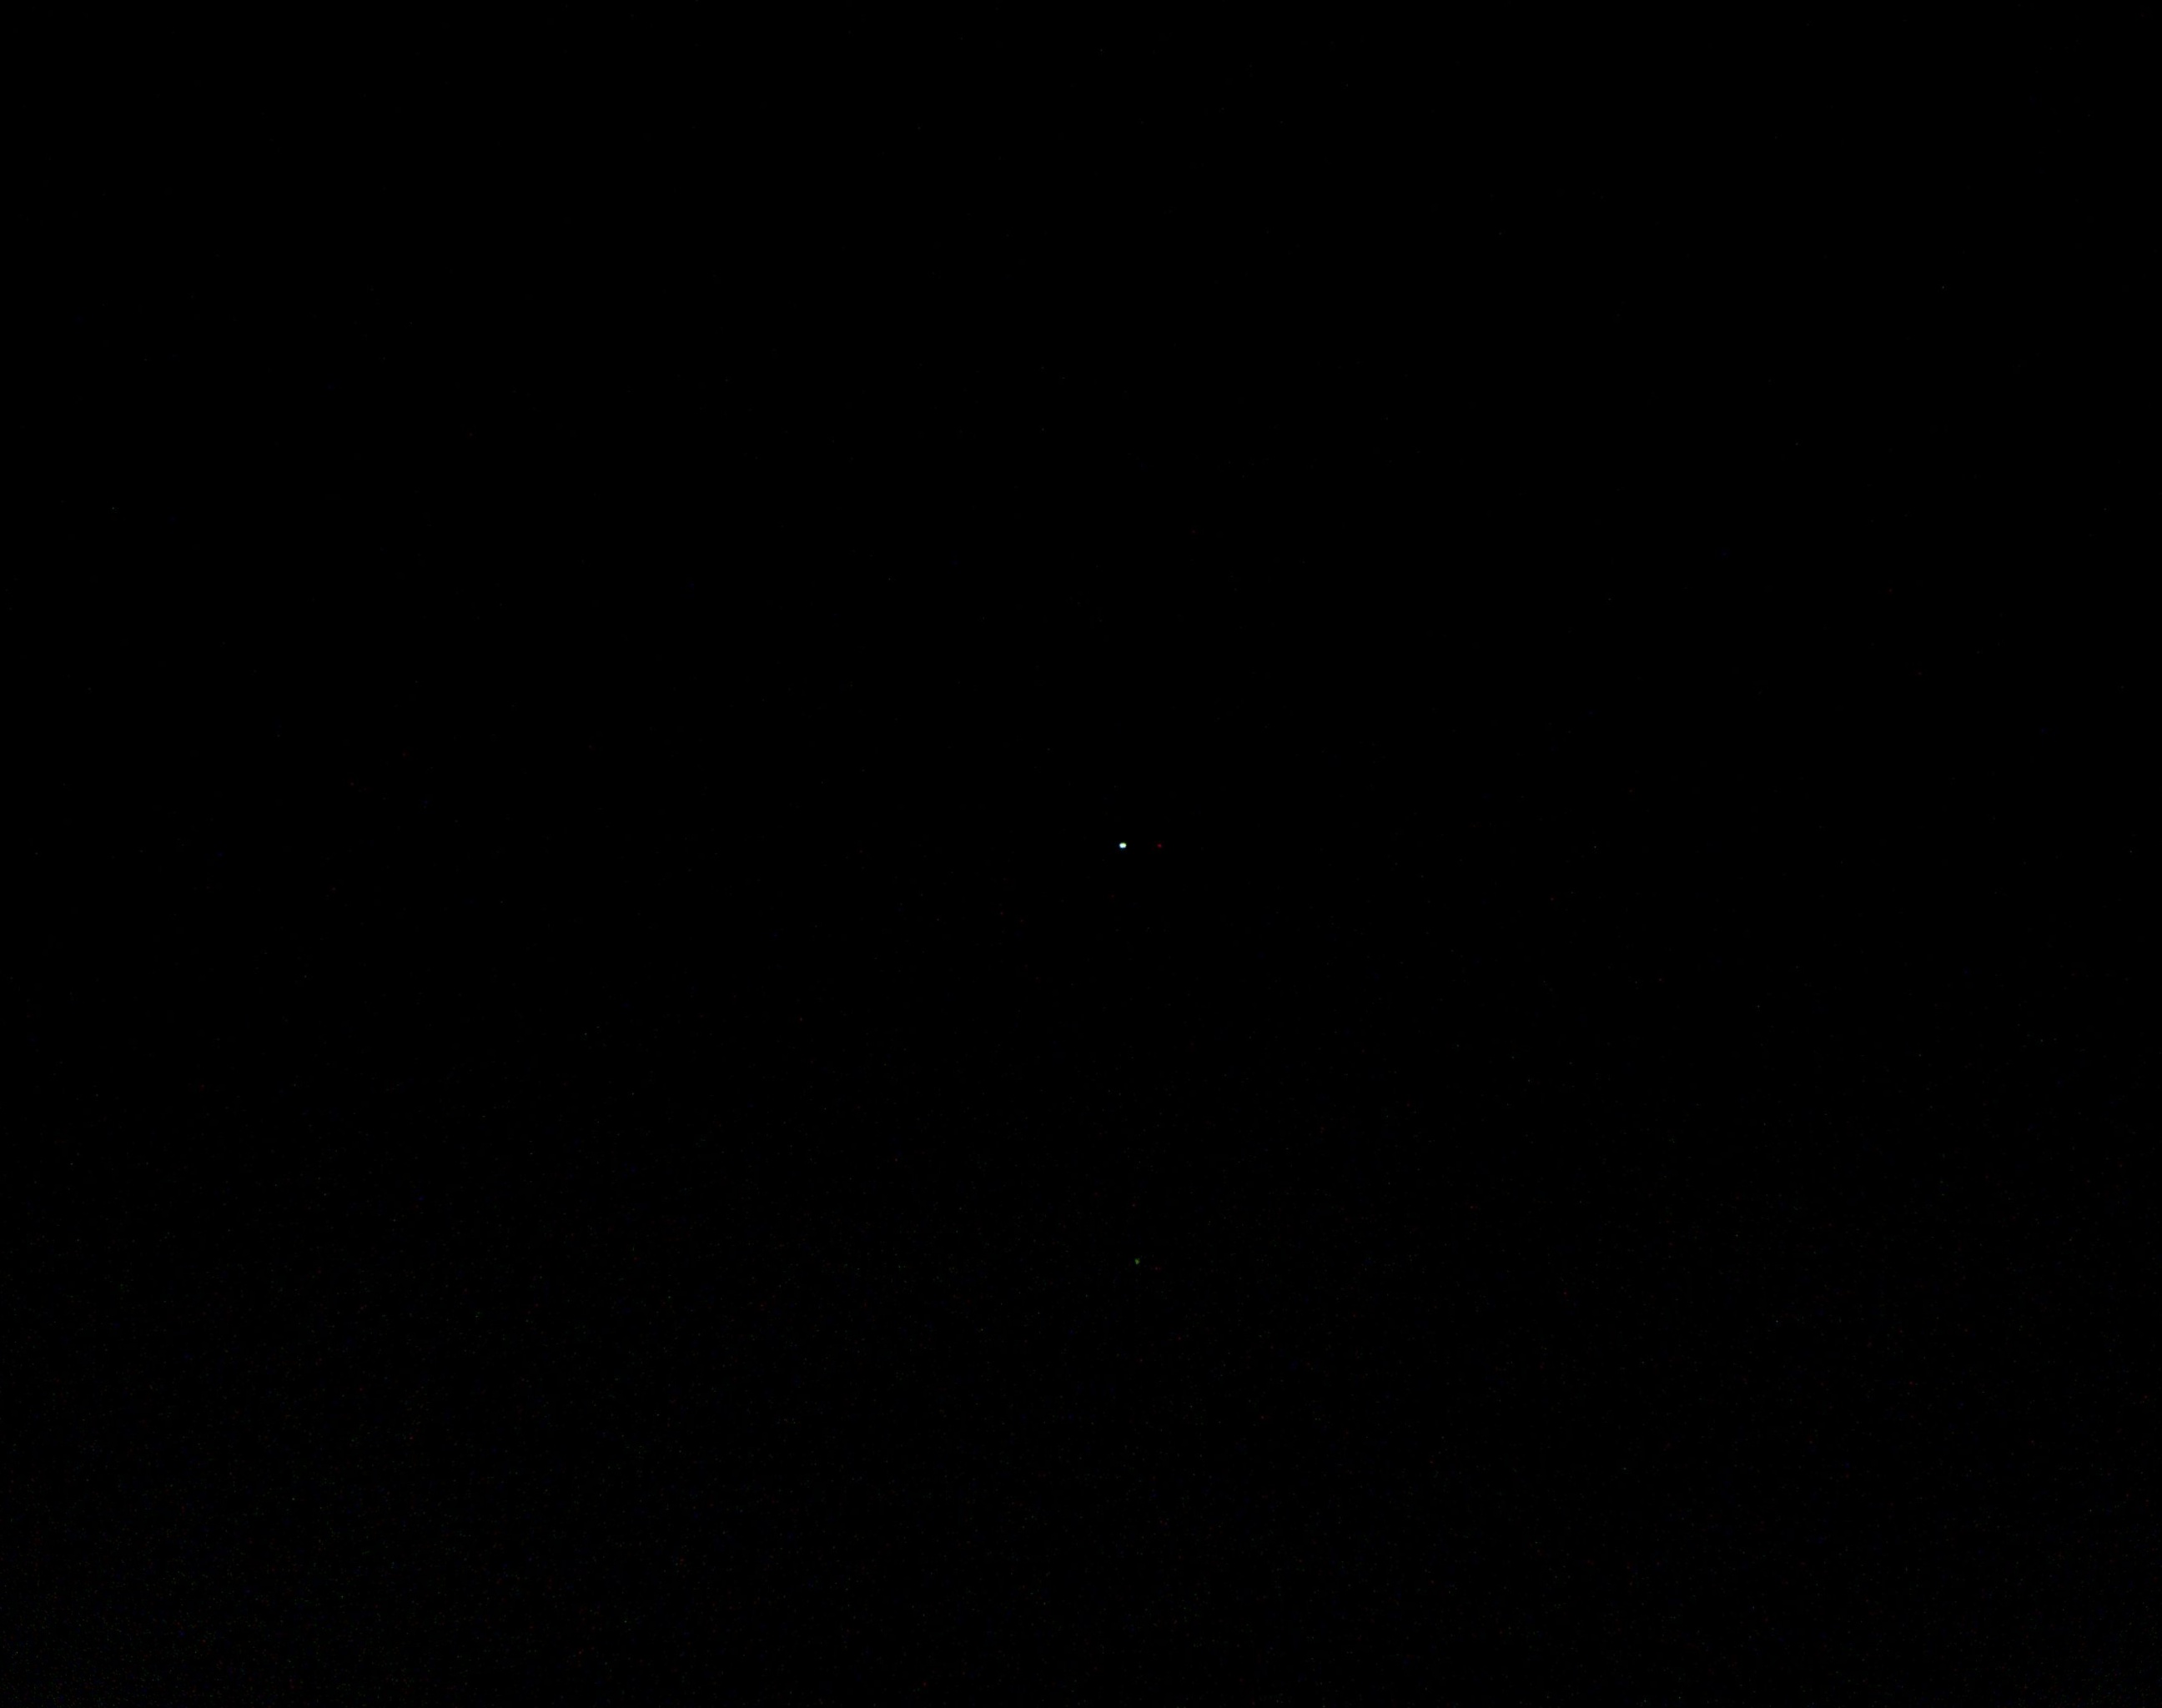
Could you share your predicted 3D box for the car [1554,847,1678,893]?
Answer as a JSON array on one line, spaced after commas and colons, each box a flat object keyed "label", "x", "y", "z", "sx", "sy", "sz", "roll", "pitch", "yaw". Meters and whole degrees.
[{"label": "car", "x": 19.626, "y": 0.526, "z": 28.094, "sx": 1.830, "sy": 1.499, "sz": 4.000, "roll": -2, "pitch": 1, "yaw": 2}]
